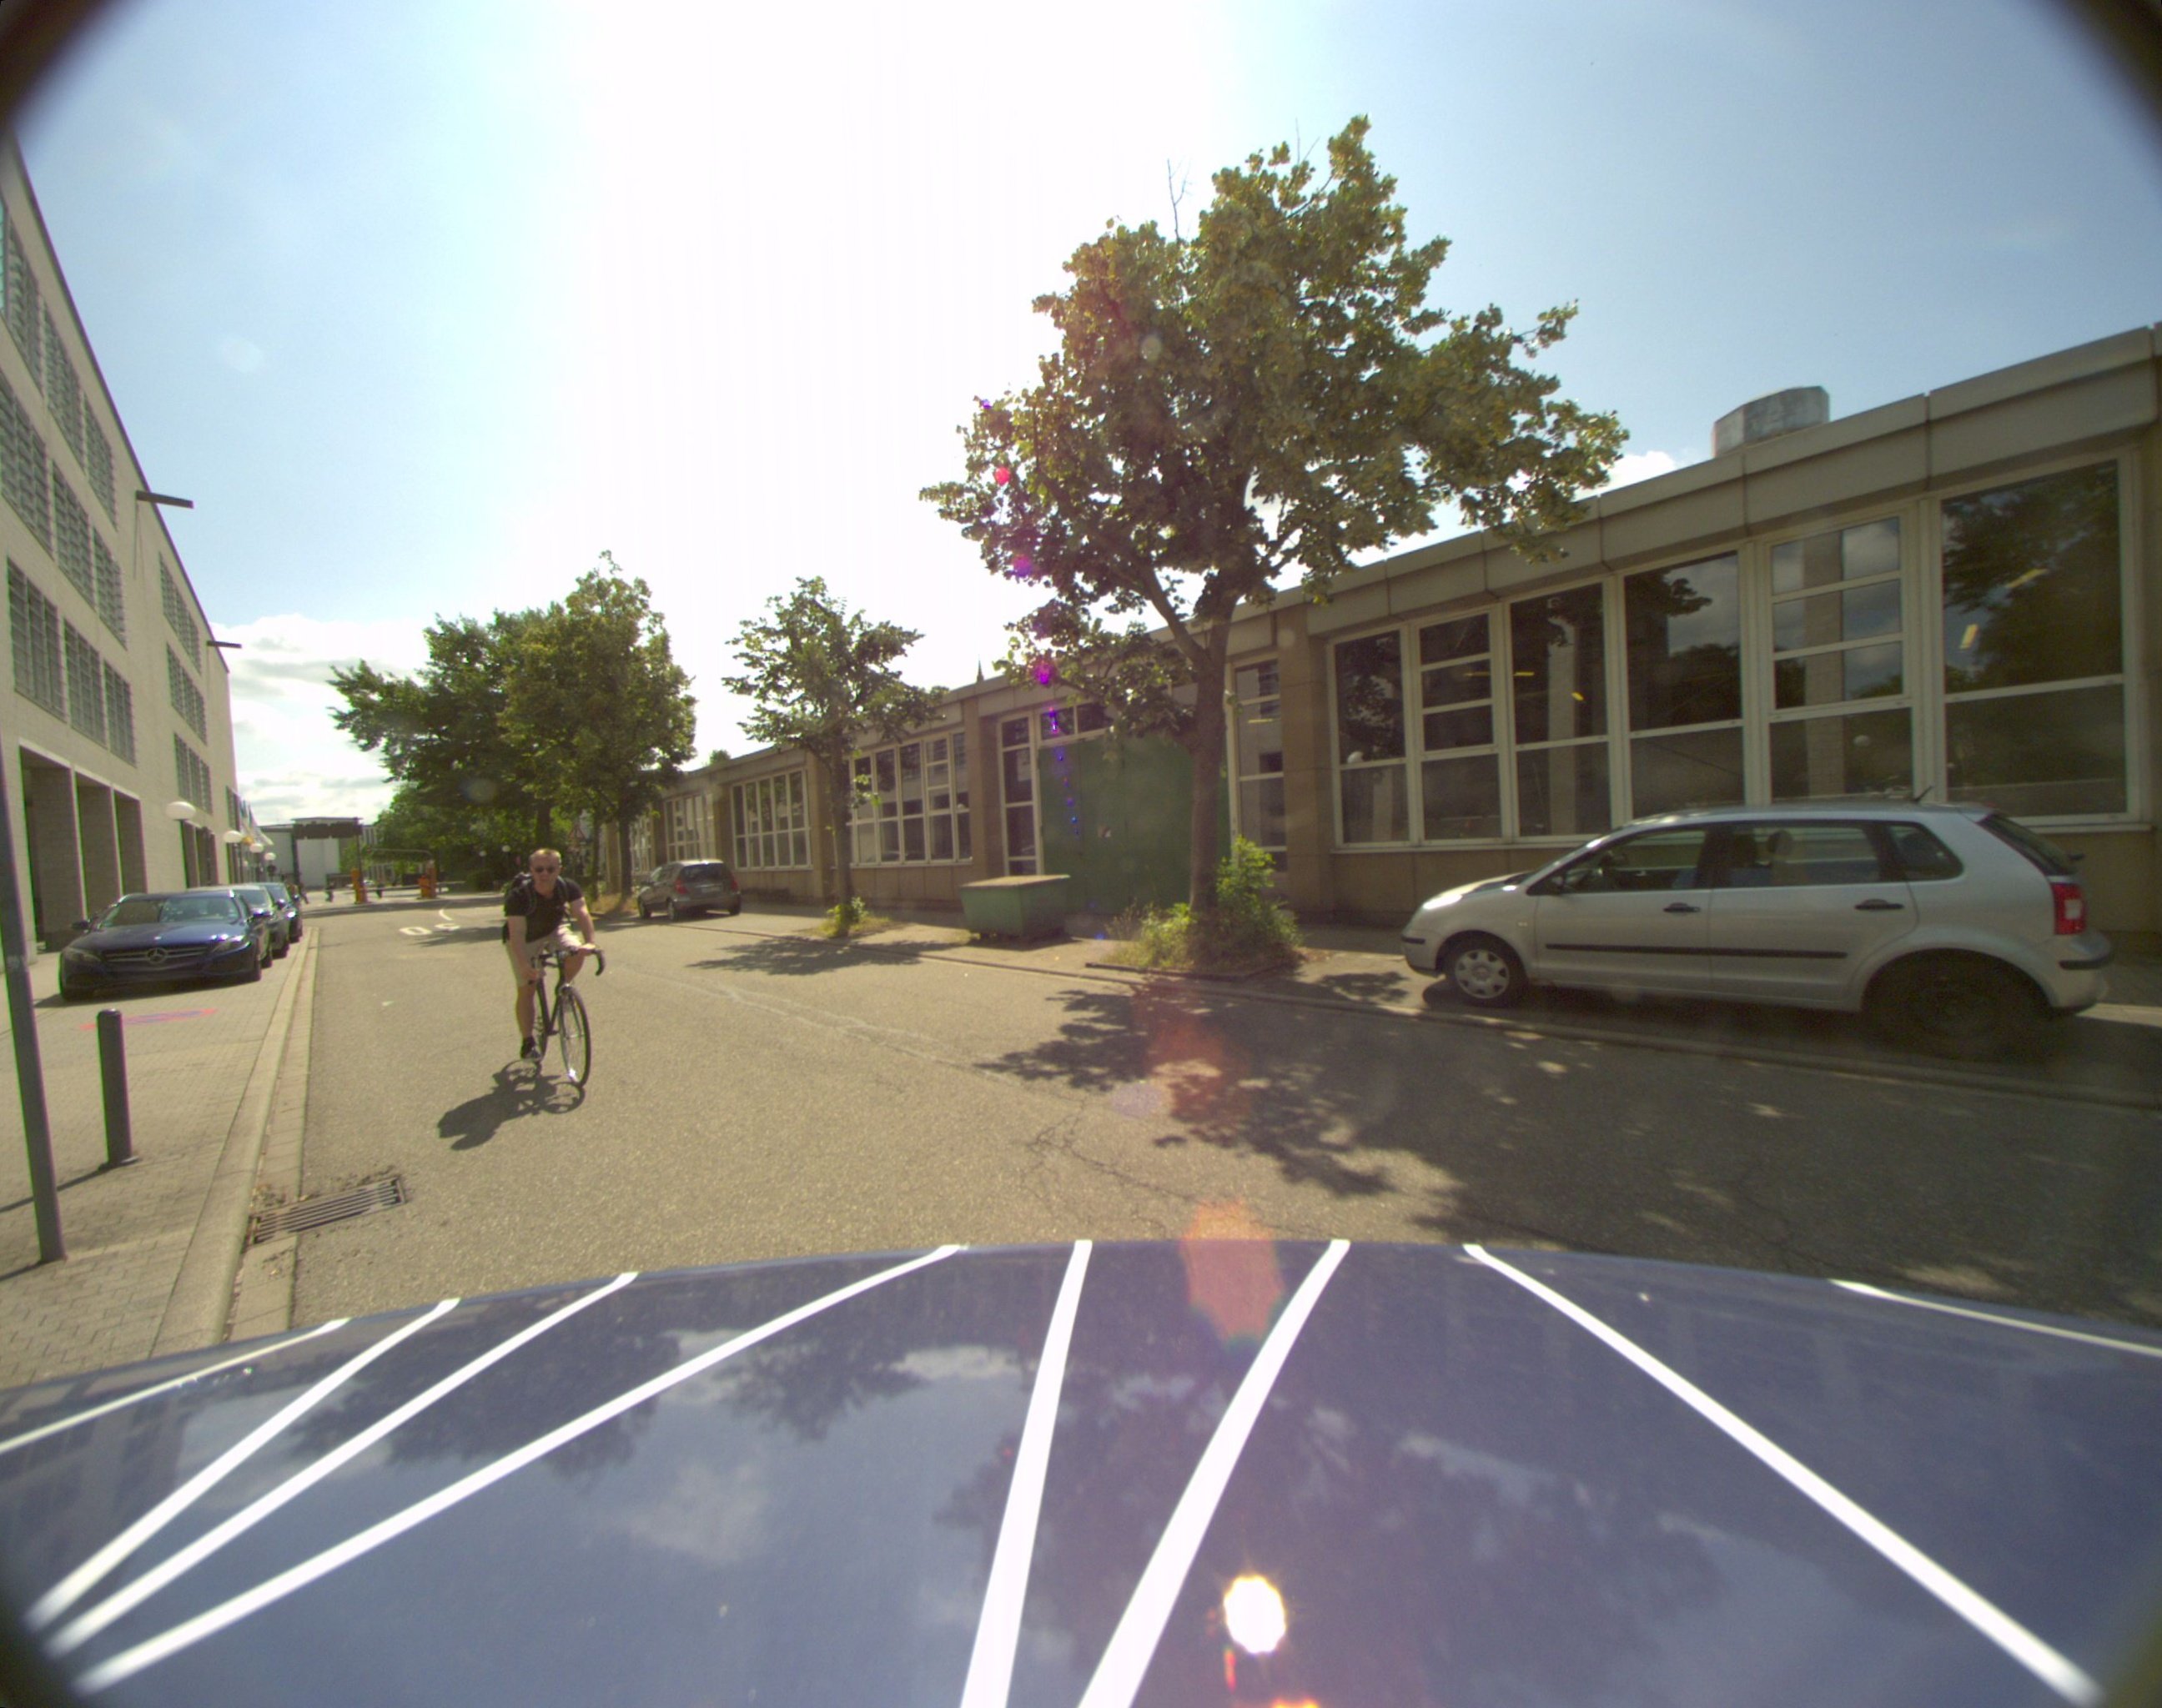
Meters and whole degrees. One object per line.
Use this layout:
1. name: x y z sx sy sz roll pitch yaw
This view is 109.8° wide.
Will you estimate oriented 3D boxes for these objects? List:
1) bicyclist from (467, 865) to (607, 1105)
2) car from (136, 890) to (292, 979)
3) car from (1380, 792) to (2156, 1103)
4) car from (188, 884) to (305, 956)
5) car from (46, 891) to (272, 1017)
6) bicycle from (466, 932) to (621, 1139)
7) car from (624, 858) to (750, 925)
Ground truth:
1. bicyclist: -3.870 0.868 5.400 0.606 1.526 0.726 -6 3 -43
2. car: -17.985 1.569 15.949 4.123 1.467 1.855 -2 2 44
3. car: 4.453 0.464 5.592 1.656 1.468 3.769 -7 4 -44
4. car: -21.991 1.664 20.166 4.123 1.573 1.855 -2 2 44
5. car: -14.272 1.413 12.023 4.123 1.467 1.855 -2 2 44
6. bicycle: -3.967 1.208 5.546 0.606 1.102 1.825 -6 3 -43
7. car: -11.203 1.021 21.491 4.123 1.569 1.855 -2 3 44
